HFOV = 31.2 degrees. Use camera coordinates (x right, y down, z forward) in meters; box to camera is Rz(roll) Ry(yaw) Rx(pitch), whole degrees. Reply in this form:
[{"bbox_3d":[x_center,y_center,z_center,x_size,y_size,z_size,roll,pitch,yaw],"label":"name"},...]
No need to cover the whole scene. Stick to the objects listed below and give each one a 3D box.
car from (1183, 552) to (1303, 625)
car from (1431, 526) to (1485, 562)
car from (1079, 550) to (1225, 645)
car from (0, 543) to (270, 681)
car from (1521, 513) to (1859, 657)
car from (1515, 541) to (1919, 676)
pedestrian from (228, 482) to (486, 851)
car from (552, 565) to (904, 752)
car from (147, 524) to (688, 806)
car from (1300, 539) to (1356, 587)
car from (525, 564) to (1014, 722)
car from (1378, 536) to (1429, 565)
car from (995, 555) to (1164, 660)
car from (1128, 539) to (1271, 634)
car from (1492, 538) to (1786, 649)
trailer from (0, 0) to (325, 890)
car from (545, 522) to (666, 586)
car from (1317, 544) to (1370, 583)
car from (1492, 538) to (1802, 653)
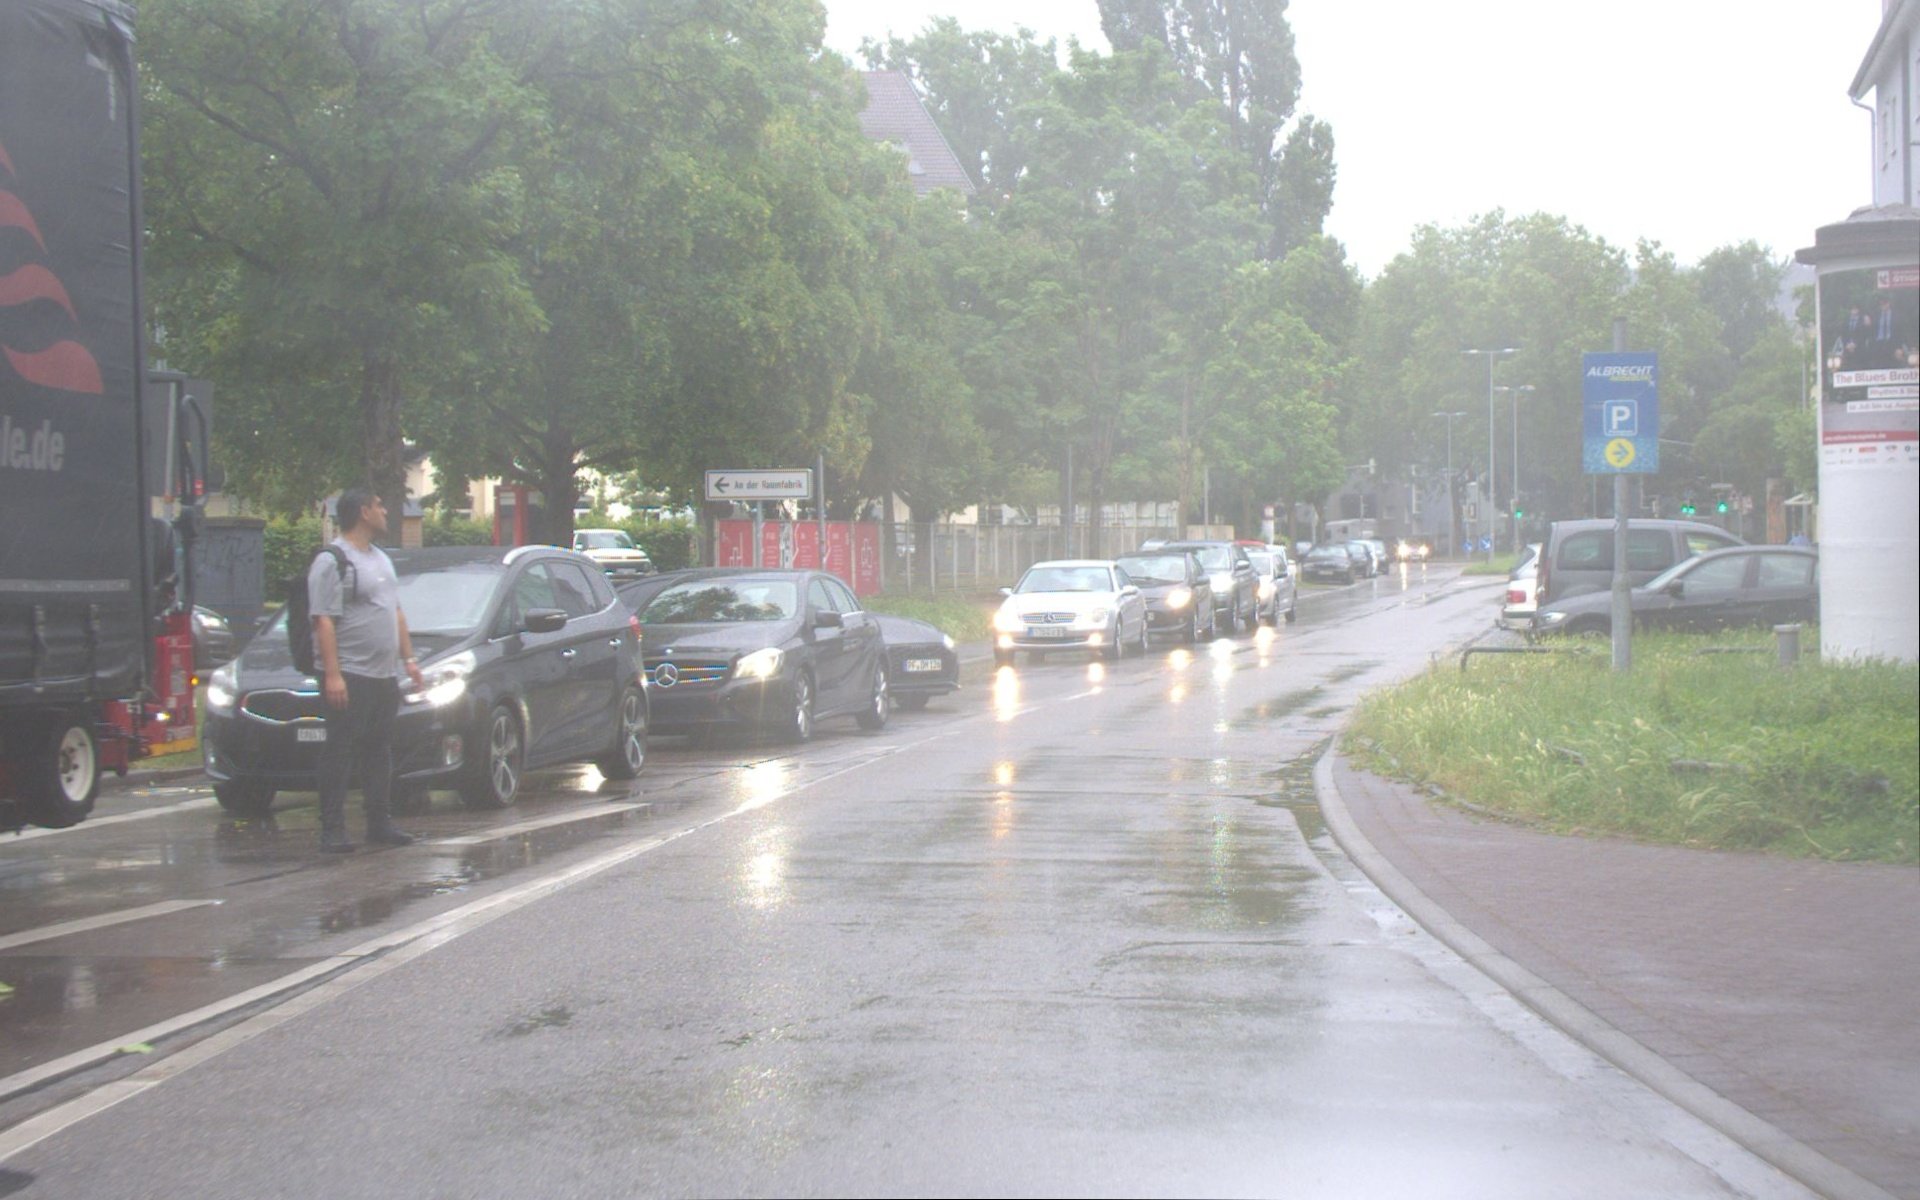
[{"bbox_3d":[5.656,-0.239,68.300,1.673,1.378,4.249,0,1,14],"label":"car"},{"bbox_3d":[28.912,-3.258,199.674,1.993,2.007,4.001,0,1,-8],"label":"car"},{"bbox_3d":[3.157,-0.068,55.667,1.780,1.415,4.263,-1,1,11],"label":"car"},{"bbox_3d":[-9.616,0.106,36.262,4.324,1.390,2.013,1,1,-19],"label":"car"},{"bbox_3d":[9.655,-0.198,45.755,4.233,1.799,1.944,-1,0,8],"label":"car"},{"bbox_3d":[8.689,0.095,39.381,4.535,1.465,1.982,-1,0,11],"label":"car"},{"bbox_3d":[-3.120,0.321,17.786,0.991,1.837,0.869,0,1,44],"label":"pedestrian"},{"bbox_3d":[-1.821,0.432,28.453,1.727,1.356,4.335,-1,1,13],"label":"car"},{"bbox_3d":[-3.338,0.407,22.225,1.868,1.614,4.800,0,-1,12],"label":"car"},{"bbox_3d":[12.748,-1.298,119.289,1.776,1.524,4.000,1,3,4],"label":"car"},{"bbox_3d":[-1.986,0.385,34.613,4.925,1.449,2.081,0,1,43],"label":"car"},{"bbox_3d":[25.994,-2.906,201.659,1.740,1.683,4.001,0,1,-11],"label":"car"},{"bbox_3d":[1.737,0.067,48.575,1.775,1.398,4.828,1,1,9],"label":"car"},{"bbox_3d":[4.393,-0.264,62.394,1.915,1.634,4.819,1,1,12],"label":"car"},{"bbox_3d":[10.025,-0.112,50.947,4.183,1.566,1.889,1,1,10],"label":"car"},{"bbox_3d":[-6.343,-0.751,10.169,3.444,4.035,15.044,-1,1,11],"label":"trailer"},{"bbox_3d":[-9.022,-1.138,87.250,1.844,1.567,4.001,0,0,-25],"label":"car"},{"bbox_3d":[14.951,-1.437,133.936,1.929,1.479,3.999,-1,1,8],"label":"car"},{"bbox_3d":[9.611,-0.063,48.366,4.191,1.563,1.888,0,1,9],"label":"car"}]
